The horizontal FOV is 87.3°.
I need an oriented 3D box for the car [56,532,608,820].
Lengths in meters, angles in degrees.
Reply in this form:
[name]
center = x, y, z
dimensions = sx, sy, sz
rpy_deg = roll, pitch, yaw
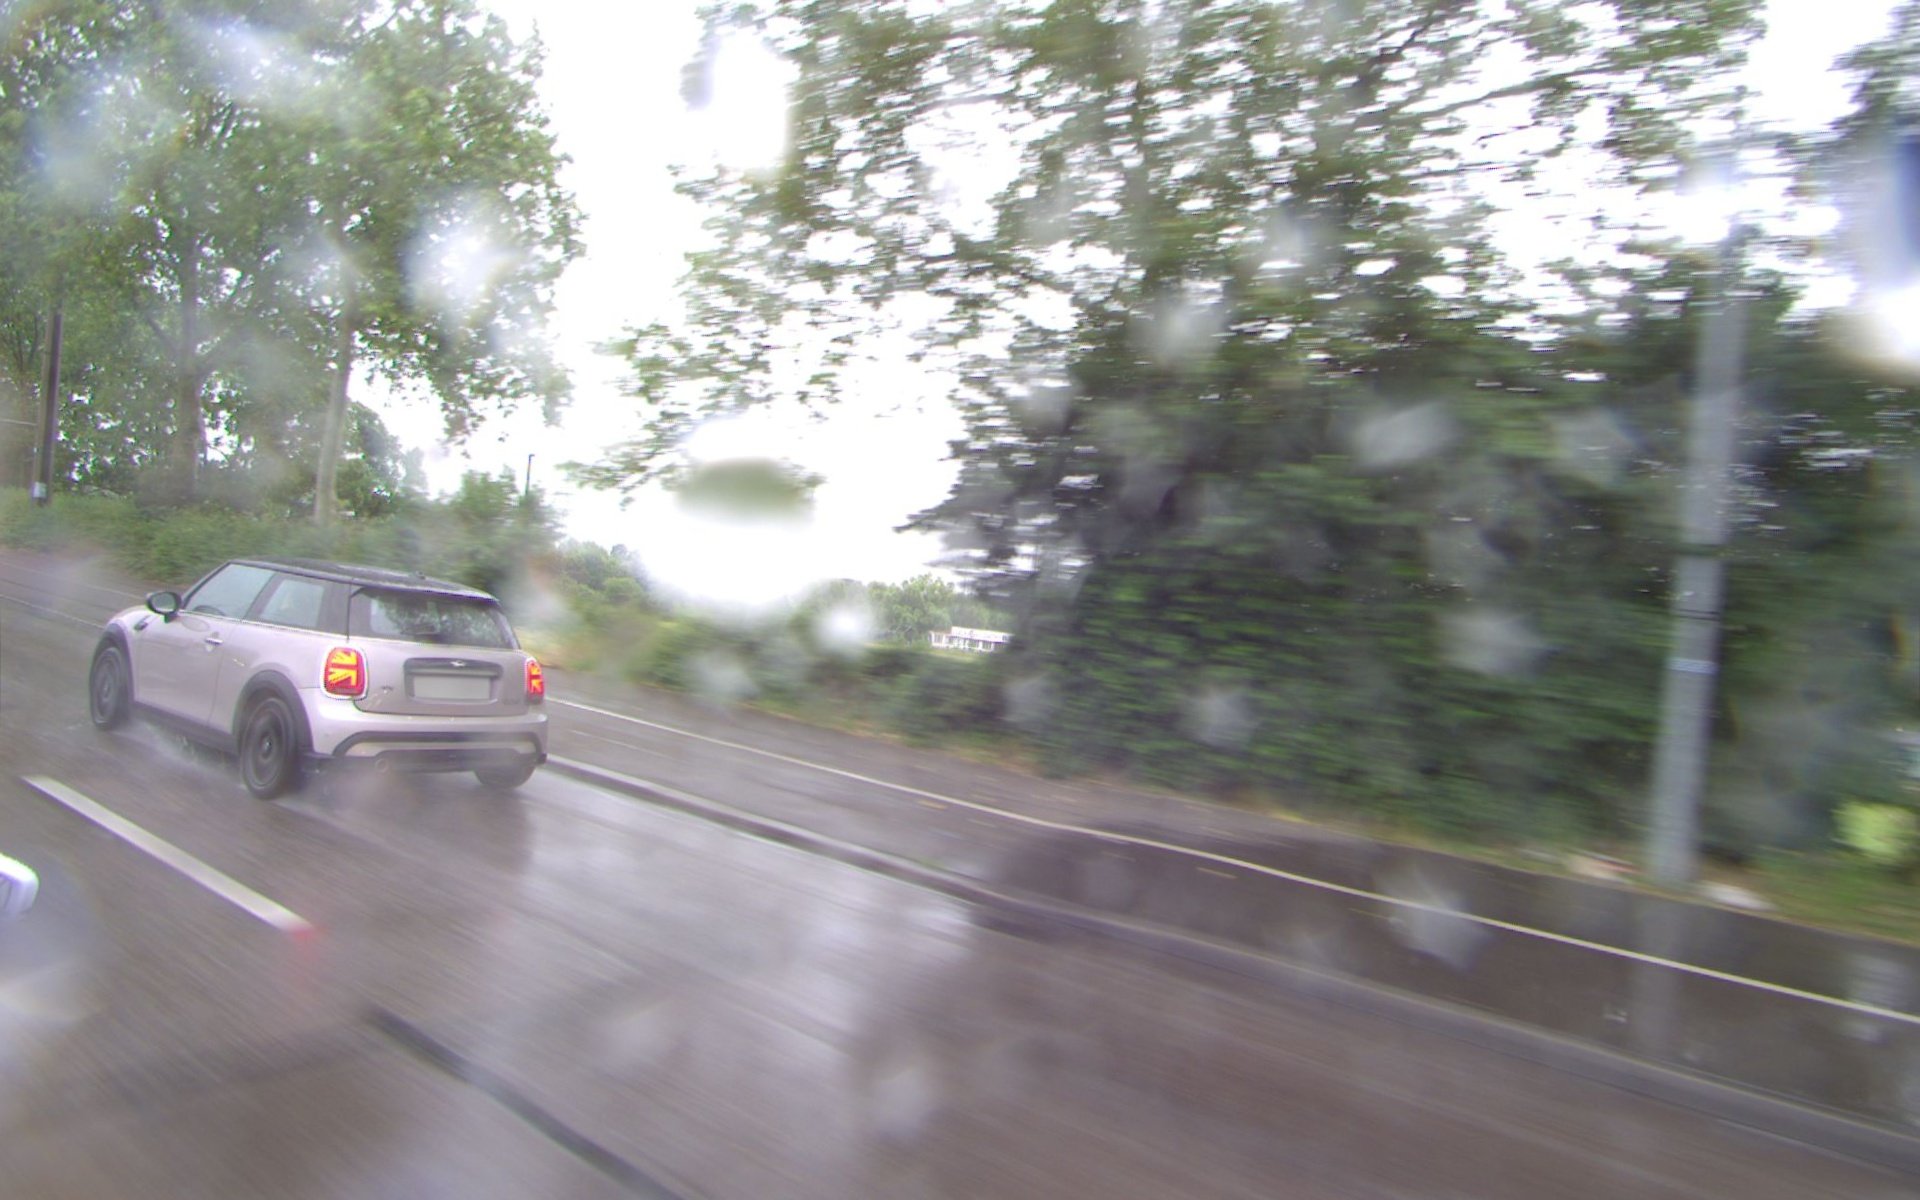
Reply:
[car]
center = -4.608, 0.454, 7.284
dimensions = 3.791, 1.429, 1.795
rpy_deg = 5, -4, 32
